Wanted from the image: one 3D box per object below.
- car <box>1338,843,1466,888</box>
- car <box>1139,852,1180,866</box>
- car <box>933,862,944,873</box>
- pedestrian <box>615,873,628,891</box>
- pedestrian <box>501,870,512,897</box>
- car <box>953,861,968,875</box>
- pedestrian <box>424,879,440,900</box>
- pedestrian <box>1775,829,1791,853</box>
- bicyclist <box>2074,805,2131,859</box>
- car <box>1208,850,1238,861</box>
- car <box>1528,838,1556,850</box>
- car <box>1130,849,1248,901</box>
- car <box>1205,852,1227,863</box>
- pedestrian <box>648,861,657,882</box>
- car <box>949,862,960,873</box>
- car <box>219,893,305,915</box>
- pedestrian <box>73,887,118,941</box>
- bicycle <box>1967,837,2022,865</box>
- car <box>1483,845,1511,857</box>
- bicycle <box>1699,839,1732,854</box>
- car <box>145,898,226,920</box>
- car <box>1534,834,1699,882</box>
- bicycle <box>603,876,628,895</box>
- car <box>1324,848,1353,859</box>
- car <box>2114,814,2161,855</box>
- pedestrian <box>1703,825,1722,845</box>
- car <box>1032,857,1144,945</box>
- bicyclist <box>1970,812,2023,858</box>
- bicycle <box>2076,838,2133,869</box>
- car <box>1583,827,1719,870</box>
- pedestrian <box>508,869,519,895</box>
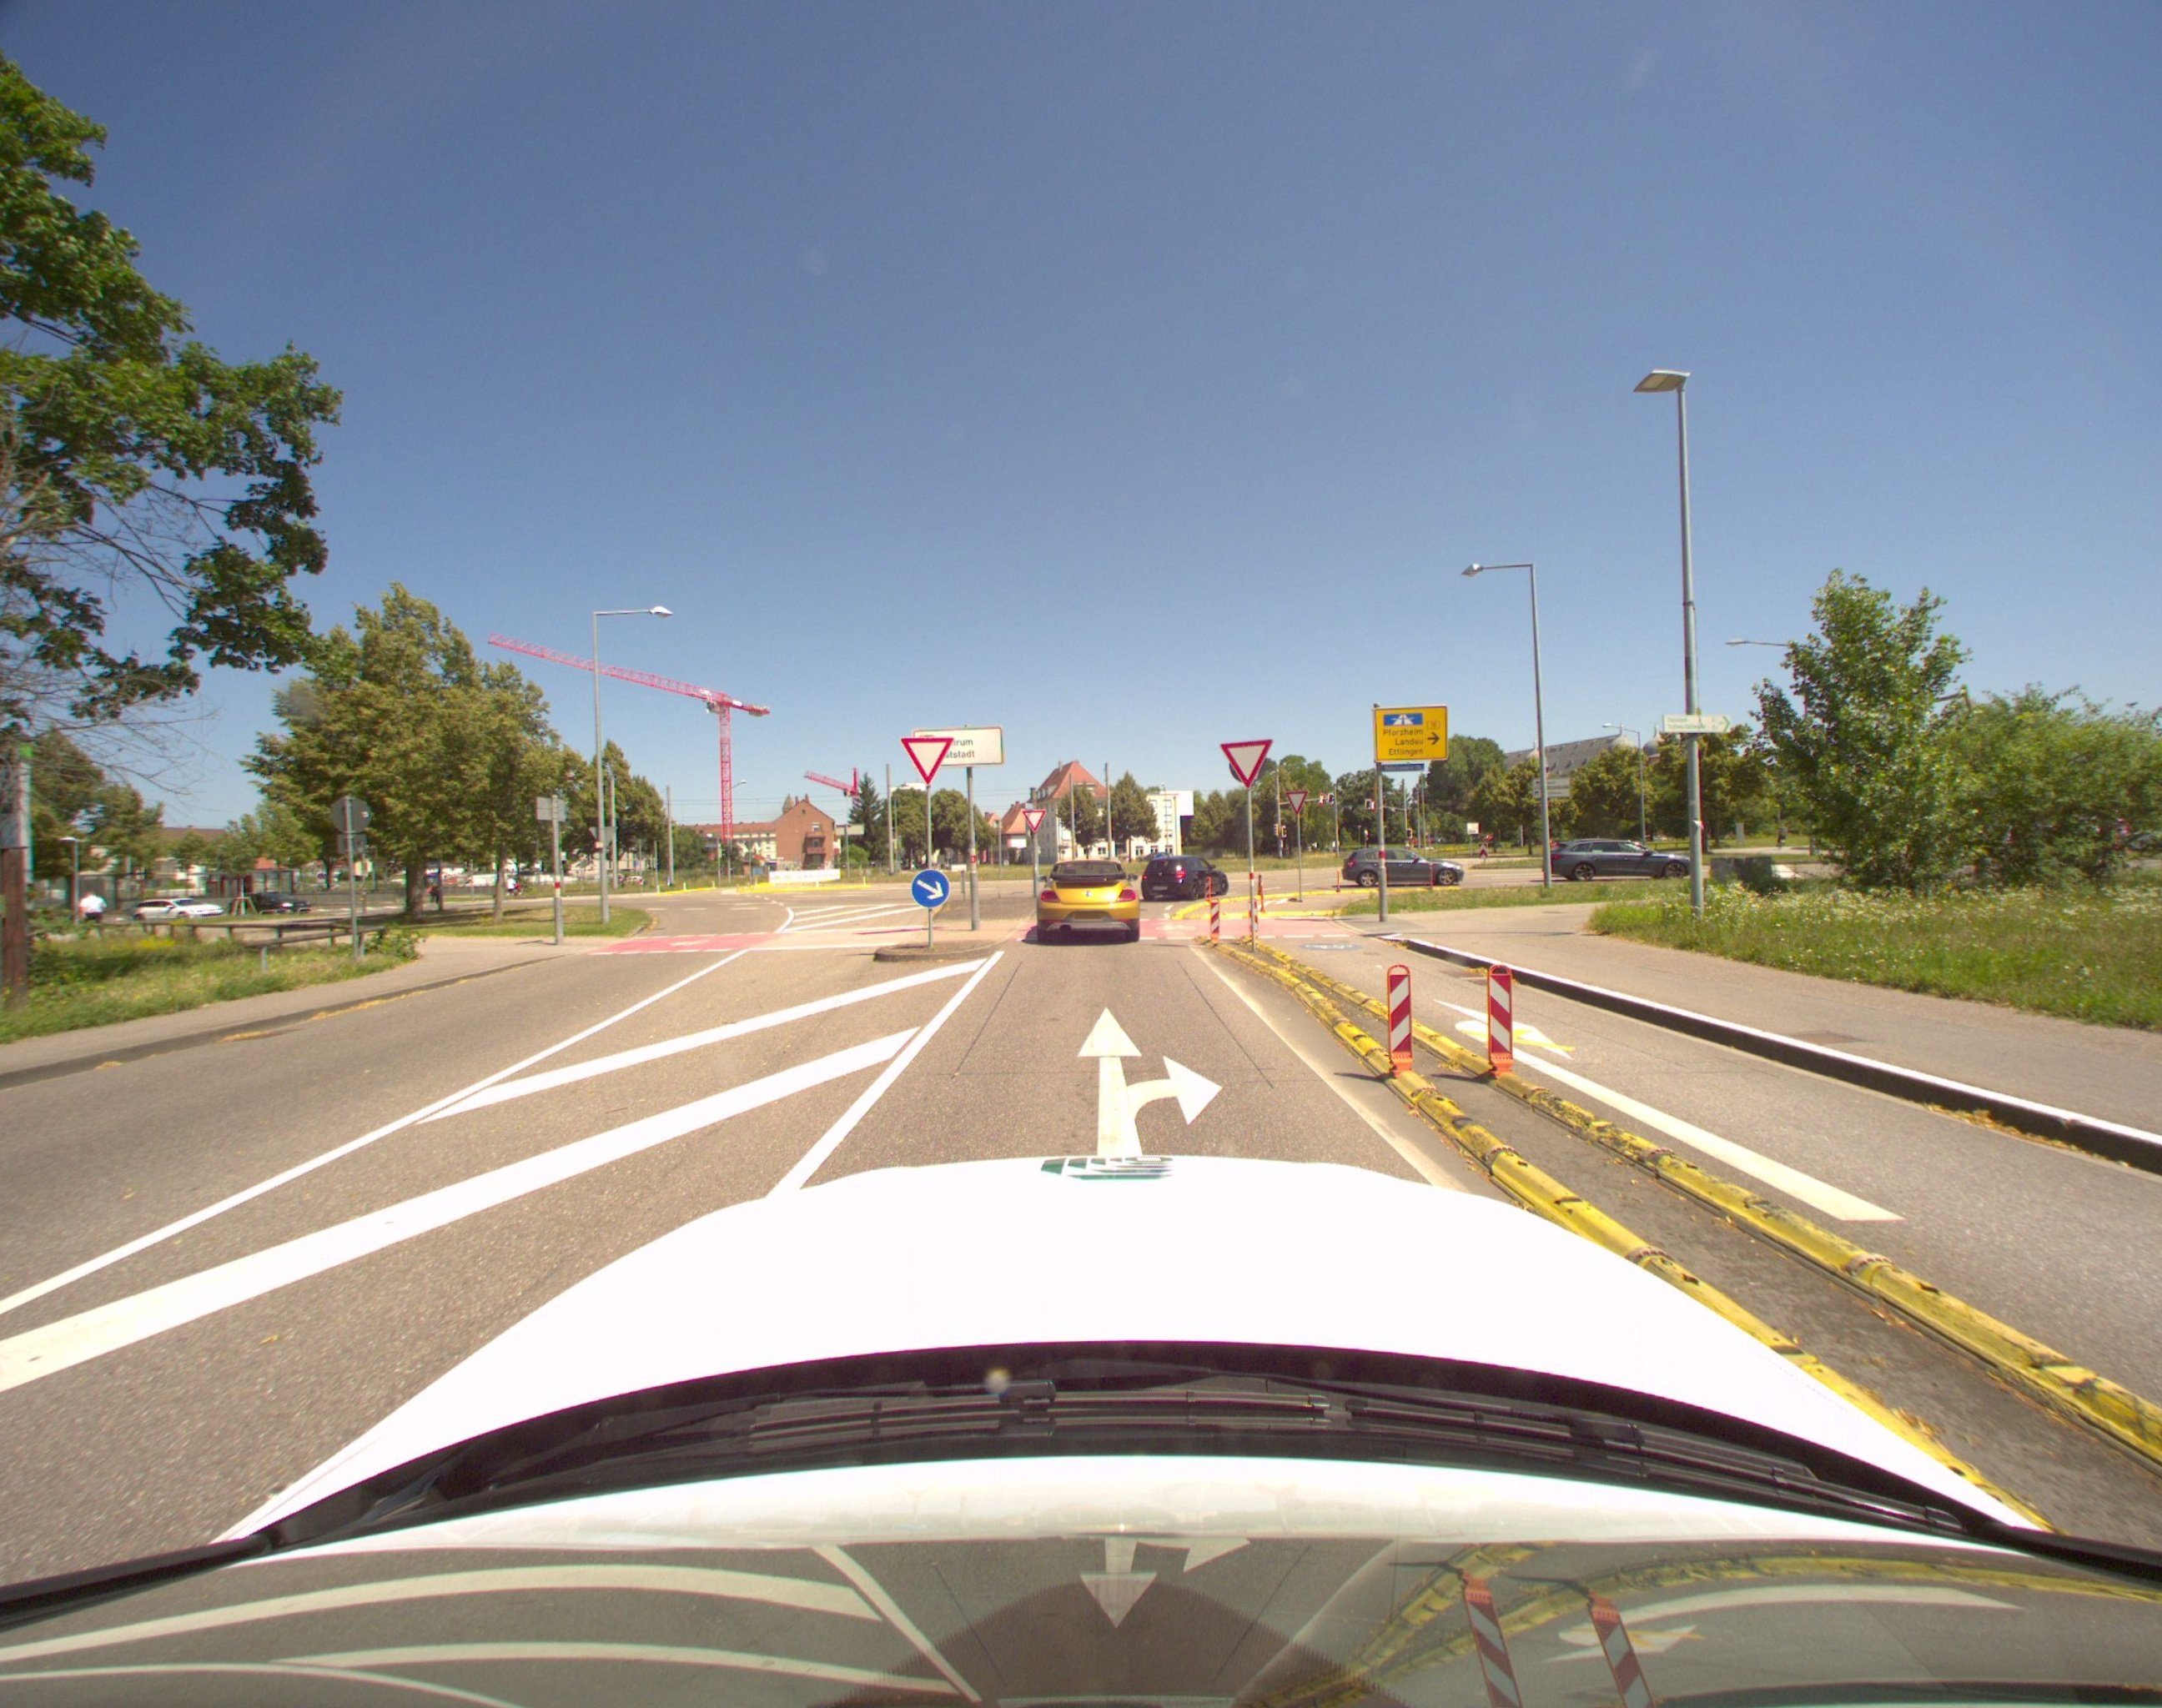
[{"bbox_3d":[11.495,0.406,29.452,4.040,1.403,1.759,-2,0,12],"label":"car"},{"bbox_3d":[8.483,0.581,88.391,3.949,1.464,2.012,-1,-1,28],"label":"car"},{"bbox_3d":[-27.592,2.633,157.955,1.994,2.014,3.984,0,-1,-11],"label":"car"},{"bbox_3d":[-43.281,2.615,76.665,0.773,1.640,0.764,-1,-1,14],"label":"pedestrian"},{"bbox_3d":[-43.238,2.206,61.288,0.631,1.934,0.640,-2,0,-33],"label":"pedestrian"},{"bbox_3d":[-17.423,2.015,117.696,1.994,2.014,3.984,0,-1,-11],"label":"car"},{"bbox_3d":[-44.073,2.397,55.344,0.539,1.406,0.598,-2,0,5],"label":"pedestrian"},{"bbox_3d":[50.887,-0.923,59.053,0.674,1.731,0.572,0,-1,-16],"label":"pedestrian"},{"bbox_3d":[31.230,-0.652,24.904,1.190,1.610,0.950,-1,-1,-33],"label":"bicyclist"},{"bbox_3d":[21.311,0.249,122.604,3.988,1.684,1.992,0,-1,-11],"label":"car"},{"bbox_3d":[81.631,-1.695,144.136,3.949,2.014,2.012,-1,-1,40],"label":"car"},{"bbox_3d":[3.550,0.617,26.236,1.780,1.440,4.025,-1,1,42],"label":"car"},{"bbox_3d":[26.545,0.643,159.884,3.956,2.014,2.008,-1,-1,16],"label":"car"},{"bbox_3d":[-41.677,1.695,79.195,0.599,2.014,0.595,-1,-1,1],"label":"pedestrian"},{"bbox_3d":[-24.935,2.633,160.534,1.994,2.014,3.984,0,-1,-11],"label":"car"},{"bbox_3d":[-49.628,3.015,49.400,3.539,1.212,1.743,-1,-1,3],"label":"car"},{"bbox_3d":[-35.703,2.155,29.504,0.605,1.869,0.838,-1,-1,15],"label":"pedestrian"},{"bbox_3d":[32.304,-0.112,28.792,1.767,0.900,0.890,-3,2,-27],"label":"bicycle"},{"bbox_3d":[71.052,-0.473,139.067,3.949,2.014,2.012,-1,-1,40],"label":"car"},{"bbox_3d":[47.760,-0.559,61.324,0.727,1.115,2.052,0,-1,-9],"label":"bicycle"},{"bbox_3d":[-54.956,3.348,49.985,3.298,1.225,1.578,-1,-1,3],"label":"car"},{"bbox_3d":[18.431,0.142,28.271,4.404,1.418,2.010,-2,0,19],"label":"car"},{"bbox_3d":[-41.888,2.819,73.314,0.553,1.685,2.095,-1,-1,18],"label":"bicycle"},{"bbox_3d":[40.982,-0.080,129.520,3.948,1.574,2.013,-1,-1,37],"label":"car"},{"bbox_3d":[45.263,-0.860,32.743,4.352,1.618,1.876,-2,0,44],"label":"car"},{"bbox_3d":[47.668,-1.448,61.471,0.707,1.451,0.815,0,-1,-9],"label":"pedestrian"},{"bbox_3d":[0.168,0.790,15.309,1.819,1.403,3.663,-1,0,1],"label":"car"},{"bbox_3d":[32.440,-0.666,28.860,1.189,1.531,0.951,-3,0,-28],"label":"bicyclist"},{"bbox_3d":[31.298,-0.031,24.900,2.234,0.900,0.889,-1,0,-33],"label":"bicycle"},{"bbox_3d":[21.888,-0.201,31.445,3.954,1.422,1.791,-2,0,20],"label":"car"},{"bbox_3d":[-43.316,2.100,62.162,0.631,1.934,0.640,-2,0,-33],"label":"pedestrian"}]
